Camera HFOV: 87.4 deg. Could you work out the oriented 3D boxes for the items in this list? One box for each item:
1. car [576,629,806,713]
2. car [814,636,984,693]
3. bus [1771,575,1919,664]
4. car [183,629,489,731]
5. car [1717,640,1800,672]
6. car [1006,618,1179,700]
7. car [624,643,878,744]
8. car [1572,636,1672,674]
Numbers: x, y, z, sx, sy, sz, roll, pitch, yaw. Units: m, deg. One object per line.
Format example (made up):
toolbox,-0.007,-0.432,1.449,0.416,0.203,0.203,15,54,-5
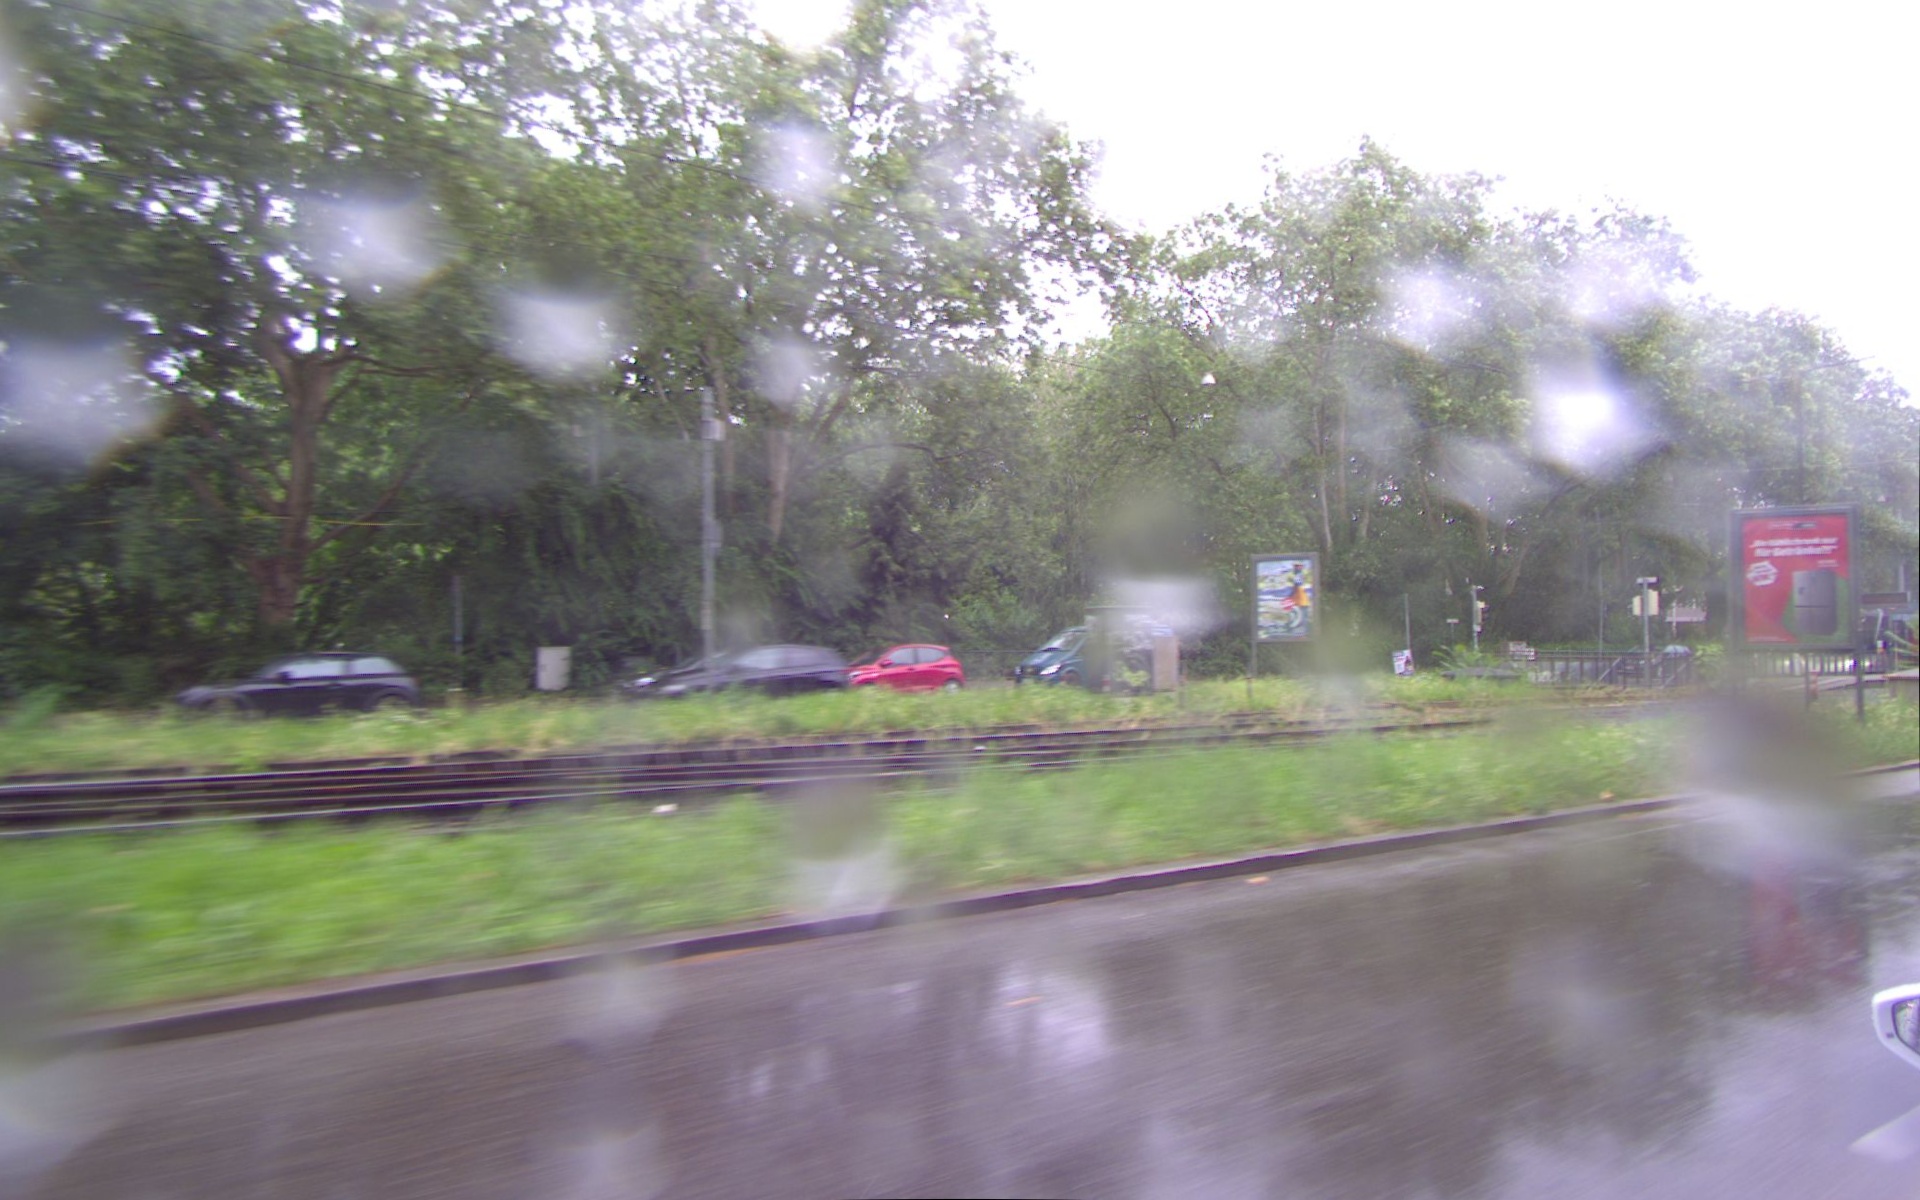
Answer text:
car,-5.922,1.555,22.293,4.561,1.679,2.020,2,-4,-33
car,-1.487,1.598,25.120,3.947,1.334,1.725,2,-4,-35
bus,43.323,1.043,48.252,12.110,3.889,3.013,2,-1,-32
car,-11.354,1.434,18.587,4.561,1.679,2.020,2,-4,-33
car,39.369,2.751,49.516,3.953,1.537,1.925,2,-3,-30
car,3.767,1.649,28.269,4.756,2.120,2.019,2,-4,-35
car,-3.880,1.678,18.852,4.232,1.679,2.020,2,-4,-34
car,28.156,2.322,42.713,3.953,1.537,1.984,2,-3,-30
